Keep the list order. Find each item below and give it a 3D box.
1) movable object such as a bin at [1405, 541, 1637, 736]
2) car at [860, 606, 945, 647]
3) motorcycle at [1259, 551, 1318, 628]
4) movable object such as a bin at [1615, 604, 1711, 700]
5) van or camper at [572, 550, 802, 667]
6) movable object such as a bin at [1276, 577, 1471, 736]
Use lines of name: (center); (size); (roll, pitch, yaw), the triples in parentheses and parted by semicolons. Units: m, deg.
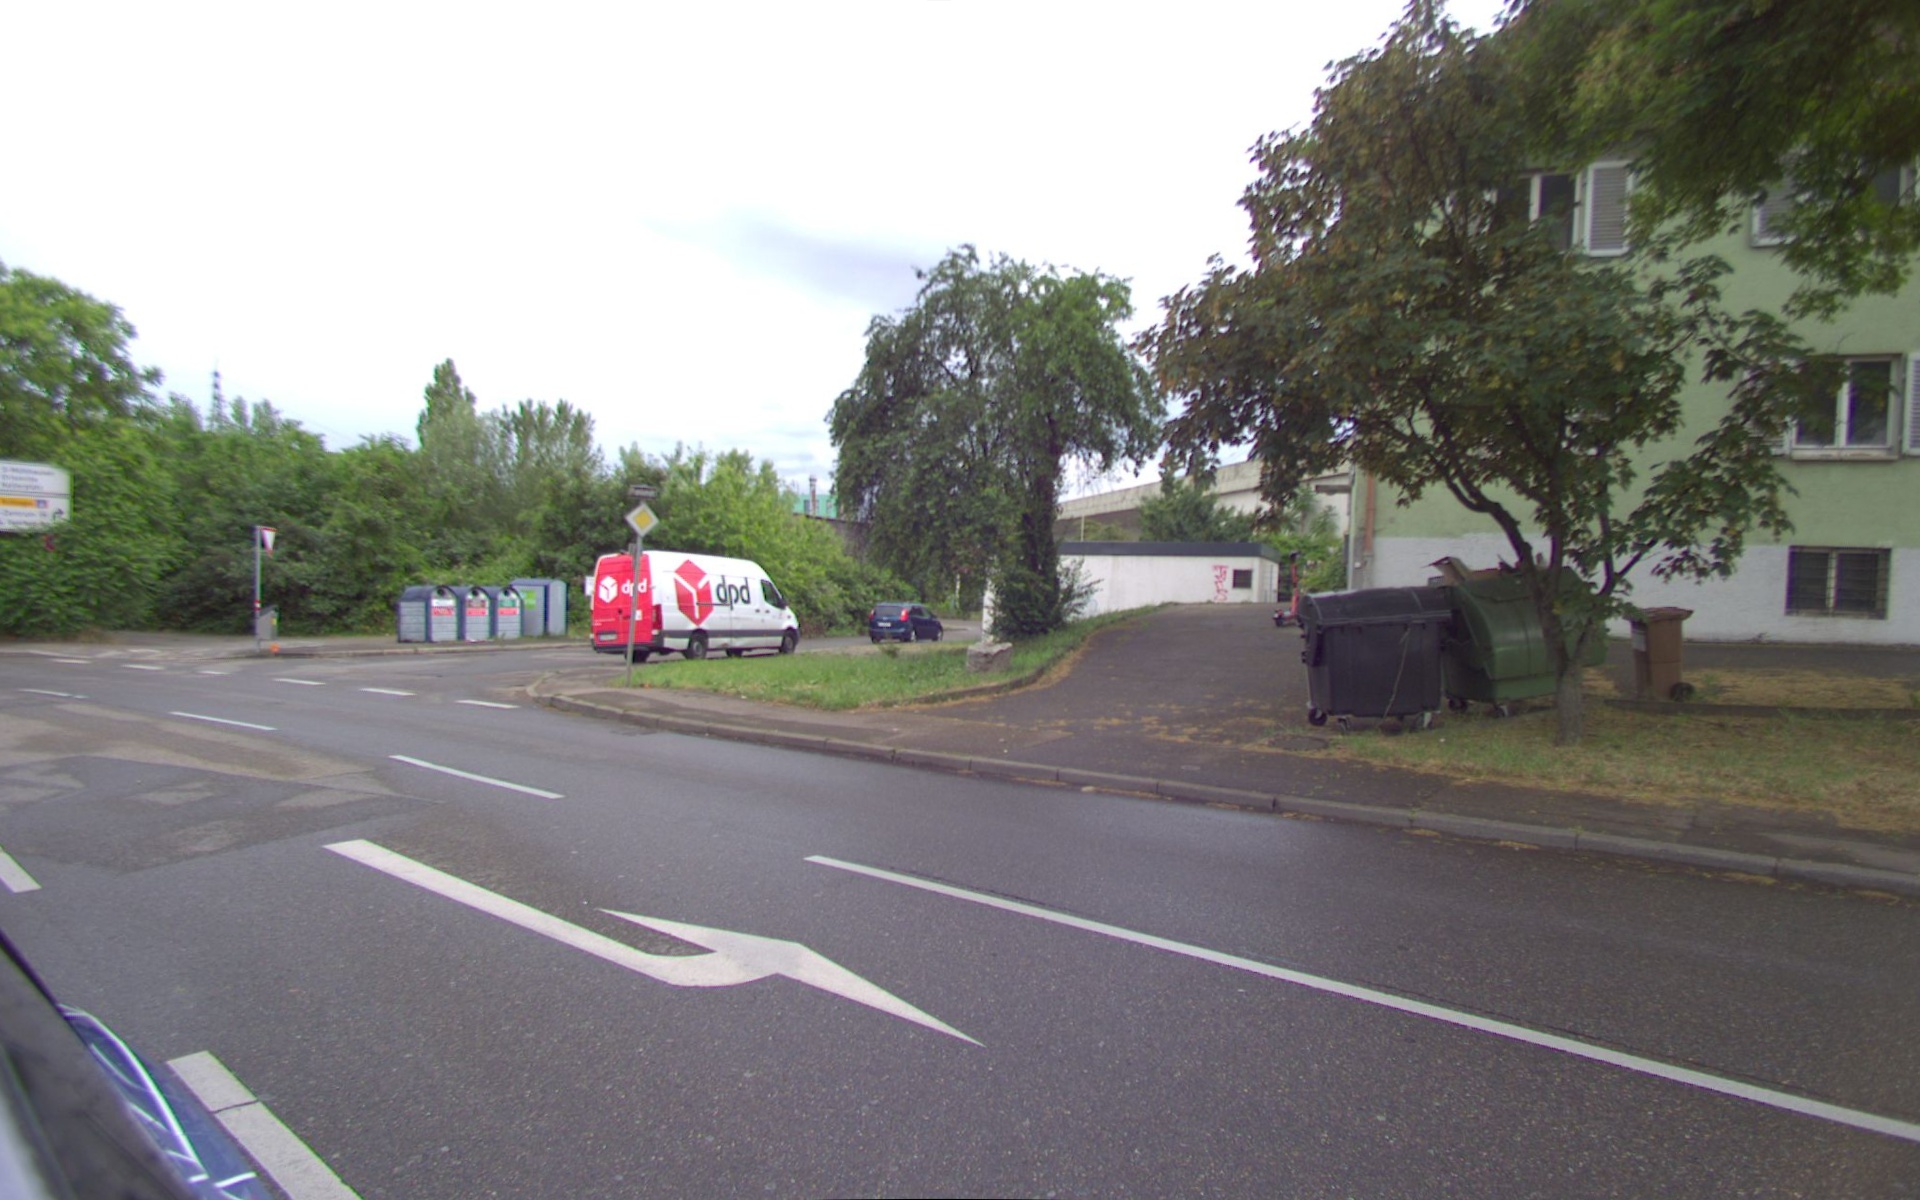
movable object such as a bin: (5.670, 0.366, 10.402); (1.434, 1.774, 1.577); (-3, 0, 3)
car: (-2.223, 1.015, 40.372); (1.985, 1.541, 4.042); (0, 0, 20)
motorcycle: (5.585, -0.198, 17.163); (0.431, 1.205, 1.463); (3, 5, 40)
movable object such as a bin: (7.174, 0.518, 10.344); (0.555, 0.917, 0.541); (-3, 0, 3)
van or camper: (-6.607, 0.199, 25.636); (2.207, 2.541, 6.651); (0, 0, 20)
movable object such as a bin: (4.195, 0.549, 10.441); (1.359, 1.452, 1.471); (-3, 0, 3)
